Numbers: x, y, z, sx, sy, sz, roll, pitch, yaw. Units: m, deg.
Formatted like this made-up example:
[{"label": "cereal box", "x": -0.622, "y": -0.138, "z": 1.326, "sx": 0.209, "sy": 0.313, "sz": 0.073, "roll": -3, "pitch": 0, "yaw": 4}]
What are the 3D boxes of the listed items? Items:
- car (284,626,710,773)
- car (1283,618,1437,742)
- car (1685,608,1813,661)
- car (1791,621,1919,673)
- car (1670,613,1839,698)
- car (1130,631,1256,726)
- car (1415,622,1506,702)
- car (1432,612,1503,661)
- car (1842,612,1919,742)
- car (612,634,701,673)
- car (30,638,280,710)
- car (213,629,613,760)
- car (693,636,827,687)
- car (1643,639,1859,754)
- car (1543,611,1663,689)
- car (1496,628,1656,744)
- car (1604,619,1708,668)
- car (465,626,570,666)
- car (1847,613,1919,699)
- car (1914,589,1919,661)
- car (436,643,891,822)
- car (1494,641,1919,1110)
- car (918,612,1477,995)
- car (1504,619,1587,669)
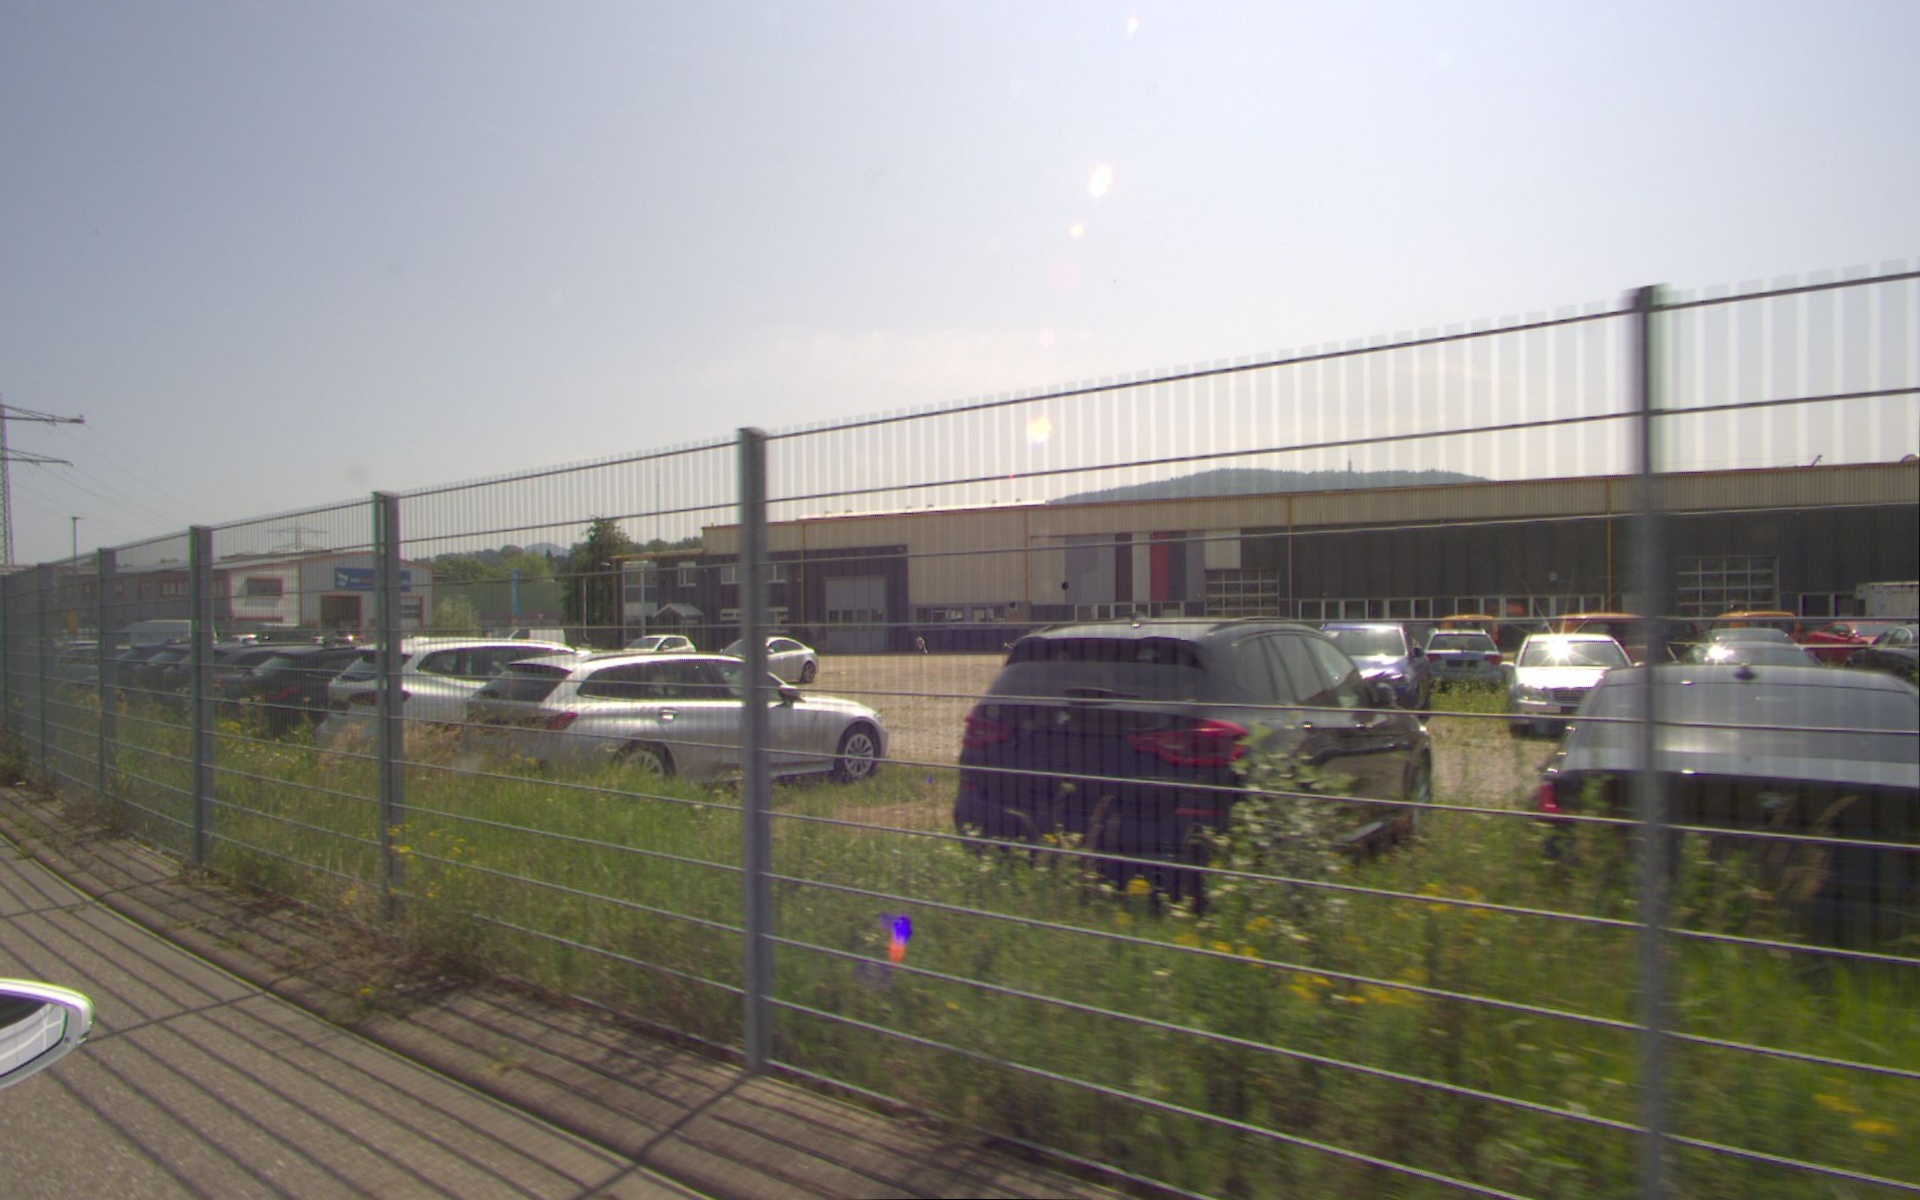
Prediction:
[{"label": "car", "x": -5.290, "y": 1.116, "z": 11.868, "sx": 1.819, "sy": 1.423, "sz": 4.190, "roll": -2, "pitch": -5, "yaw": 43}, {"label": "car", "x": 6.634, "y": 1.151, "z": 16.319, "sx": 1.849, "sy": 1.670, "sz": 4.457, "roll": 0, "pitch": 0, "yaw": 28}, {"label": "car", "x": 24.615, "y": 1.026, "z": 31.442, "sx": 1.940, "sy": 1.505, "sz": 4.379, "roll": 0, "pitch": 0, "yaw": 21}, {"label": "car", "x": 27.079, "y": 1.355, "z": 30.302, "sx": 1.811, "sy": 1.396, "sz": 4.376, "roll": 0, "pitch": 0, "yaw": 24}, {"label": "car", "x": 15.679, "y": 1.022, "z": 19.988, "sx": 1.727, "sy": 1.481, "sz": 3.818, "roll": 0, "pitch": 0, "yaw": 24}, {"label": "car", "x": 4.359, "y": 1.344, "z": 18.363, "sx": 1.585, "sy": 1.456, "sz": 3.762, "roll": 0, "pitch": 0, "yaw": 24}, {"label": "car", "x": 10.696, "y": 1.253, "z": 21.591, "sx": 1.562, "sy": 1.481, "sz": 3.818, "roll": 0, "pitch": 0, "yaw": 24}, {"label": "car", "x": 17.283, "y": 1.194, "z": 34.259, "sx": 1.723, "sy": 1.505, "sz": 4.379, "roll": 0, "pitch": 0, "yaw": 21}, {"label": "car", "x": 14.222, "y": 1.028, "z": 13.840, "sx": 1.968, "sy": 1.739, "sz": 3.987, "roll": -3, "pitch": -2, "yaw": 26}, {"label": "car", "x": -12.208, "y": 2.119, "z": 40.444, "sx": 1.509, "sy": 1.454, "sz": 3.659, "roll": -1, "pitch": -1, "yaw": 21}, {"label": "car", "x": -18.269, "y": 1.673, "z": 22.909, "sx": 1.617, "sy": 1.492, "sz": 4.154, "roll": -1, "pitch": -4, "yaw": 36}, {"label": "car", "x": -6.926, "y": 1.176, "z": 13.017, "sx": 1.819, "sy": 1.423, "sz": 4.190, "roll": -2, "pitch": -5, "yaw": 43}, {"label": "car", "x": -5.867, "y": 1.781, "z": 29.985, "sx": 1.600, "sy": 1.368, "sz": 4.510, "roll": -1, "pitch": -1, "yaw": 25}, {"label": "car", "x": 11.389, "y": 1.297, "z": 14.699, "sx": 1.585, "sy": 1.319, "sz": 3.762, "roll": 0, "pitch": 0, "yaw": 24}, {"label": "car", "x": 13.573, "y": 0.978, "z": 21.333, "sx": 1.562, "sy": 1.481, "sz": 3.818, "roll": 0, "pitch": 0, "yaw": 24}, {"label": "car", "x": 9.277, "y": 1.202, "z": 15.347, "sx": 1.585, "sy": 1.456, "sz": 3.762, "roll": 0, "pitch": 0, "yaw": 24}, {"label": "car", "x": 22.502, "y": 1.358, "z": 32.551, "sx": 1.966, "sy": 1.483, "sz": 3.990, "roll": -1, "pitch": -1, "yaw": 23}, {"label": "car", "x": -22.725, "y": 2.326, "z": 51.654, "sx": 1.828, "sy": 1.924, "sz": 5.061, "roll": -1, "pitch": -1, "yaw": 25}, {"label": "car", "x": 17.933, "y": 0.986, "z": 18.242, "sx": 1.562, "sy": 1.481, "sz": 3.818, "roll": 0, "pitch": 0, "yaw": 24}, {"label": "car", "x": 29.547, "y": 0.747, "z": 28.495, "sx": 1.940, "sy": 2.200, "sz": 4.379, "roll": 0, "pitch": 0, "yaw": 21}, {"label": "car", "x": -2.773, "y": 1.209, "z": 10.237, "sx": 1.815, "sy": 1.423, "sz": 4.199, "roll": -1, "pitch": -4, "yaw": 37}, {"label": "car", "x": 4.096, "y": 0.995, "z": 5.262, "sx": 1.741, "sy": 1.396, "sz": 4.267, "roll": 0, "pitch": 0, "yaw": 36}, {"label": "car", "x": 1.831, "y": 0.921, "z": 6.572, "sx": 1.745, "sy": 1.659, "sz": 4.257, "roll": 0, "pitch": 0, "yaw": 42}, {"label": "car", "x": 19.596, "y": 1.424, "z": 33.673, "sx": 1.723, "sy": 1.505, "sz": 4.379, "roll": 0, "pitch": 0, "yaw": 21}]
